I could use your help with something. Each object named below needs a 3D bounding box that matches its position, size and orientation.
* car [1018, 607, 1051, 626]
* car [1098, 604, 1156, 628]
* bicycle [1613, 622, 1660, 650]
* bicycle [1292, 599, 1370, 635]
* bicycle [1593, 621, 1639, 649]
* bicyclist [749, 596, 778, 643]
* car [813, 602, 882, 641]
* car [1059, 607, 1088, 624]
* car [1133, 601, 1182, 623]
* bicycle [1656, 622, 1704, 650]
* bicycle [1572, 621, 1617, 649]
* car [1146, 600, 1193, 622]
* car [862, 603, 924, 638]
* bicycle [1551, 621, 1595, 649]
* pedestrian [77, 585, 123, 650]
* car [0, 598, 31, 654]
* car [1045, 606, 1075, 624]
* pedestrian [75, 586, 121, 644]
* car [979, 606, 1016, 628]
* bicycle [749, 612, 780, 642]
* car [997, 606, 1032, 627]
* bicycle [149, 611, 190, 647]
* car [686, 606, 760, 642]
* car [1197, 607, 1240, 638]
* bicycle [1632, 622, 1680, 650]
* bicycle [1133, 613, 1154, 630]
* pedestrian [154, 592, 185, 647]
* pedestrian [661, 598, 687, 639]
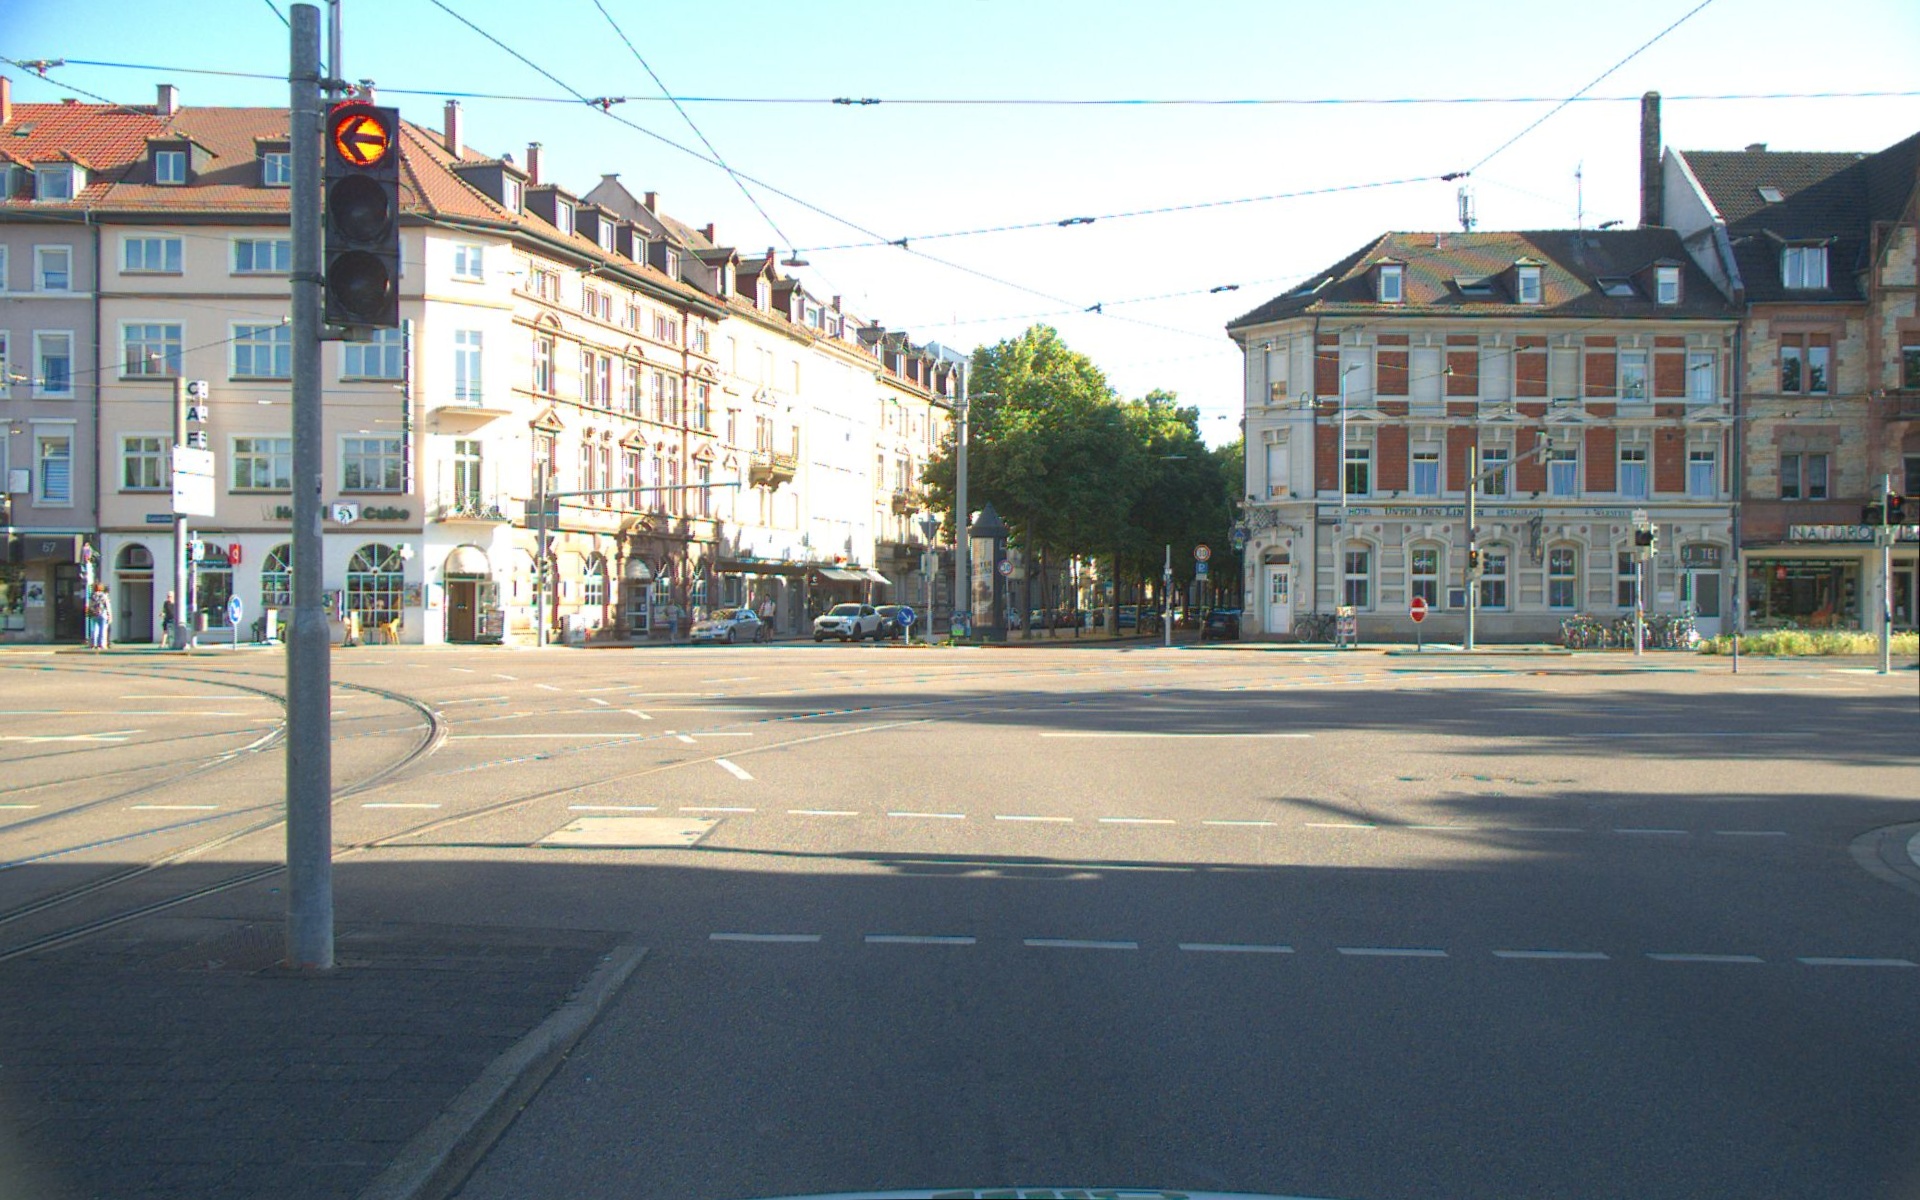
[{"bbox_3d":[5.537,1.212,122.496,1.642,1.378,3.593,0,0,16],"label":"car"},{"bbox_3d":[11.717,1.113,115.828,3.819,1.677,1.684,0,0,16],"label":"car"},{"bbox_3d":[21.863,1.143,53.495,0.645,0.855,2.160,1,0,1],"label":"bicycle"},{"bbox_3d":[12.866,0.588,57.451,2.504,1.194,0.818,1,-1,-4],"label":"bicycle"},{"bbox_3d":[21.192,1.132,53.462,0.645,0.855,2.160,1,0,1],"label":"bicycle"},{"bbox_3d":[-7.714,0.766,64.999,0.761,1.834,1.056,1,-1,13],"label":"bicyclist"},{"bbox_3d":[-4.535,0.842,67.221,1.642,1.509,3.774,0,0,16],"label":"car"},{"bbox_3d":[9.321,1.248,135.890,1.642,1.378,3.593,0,0,16],"label":"car"},{"bbox_3d":[15.323,0.957,128.241,3.503,1.677,1.684,0,0,16],"label":"car"},{"bbox_3d":[23.279,1.167,53.520,0.645,0.855,2.160,1,0,1],"label":"bicycle"},{"bbox_3d":[20.480,1.119,53.448,0.645,0.855,2.160,1,0,1],"label":"bicycle"},{"bbox_3d":[16.946,0.882,133.740,3.503,1.677,1.684,0,0,16],"label":"car"},{"bbox_3d":[-2.948,0.886,73.546,1.642,1.509,3.950,0,0,16],"label":"car"},{"bbox_3d":[19.760,1.107,53.361,0.645,0.855,2.160,1,0,1],"label":"bicycle"},{"bbox_3d":[-21.437,0.441,41.231,0.539,1.605,0.832,1,-1,27],"label":"pedestrian"},{"bbox_3d":[-32.153,0.791,52.254,4.276,1.741,2.306,1,0,1],"label":"car"},{"bbox_3d":[7.896,1.212,130.838,1.642,1.378,3.593,0,0,16],"label":"car"},{"bbox_3d":[-23.967,0.417,45.996,0.710,1.605,0.834,1,-1,15],"label":"pedestrian"},{"bbox_3d":[2.567,1.137,111.334,1.642,1.378,3.593,0,0,16],"label":"car"},{"bbox_3d":[-7.681,1.046,65.122,0.687,1.137,1.636,1,0,13],"label":"bicycle"},{"bbox_3d":[3.825,1.156,115.509,1.642,1.378,3.593,0,0,16],"label":"car"},{"bbox_3d":[-24.769,0.896,51.870,0.561,1.096,1.497,1,0,-1],"label":"bicycle"},{"bbox_3d":[-9.540,0.933,66.740,1.642,1.378,3.593,0,0,16],"label":"car"},{"bbox_3d":[12.959,1.104,82.743,1.642,1.509,3.950,0,0,16],"label":"car"},{"bbox_3d":[22.490,1.154,53.475,0.645,0.855,2.160,1,0,1],"label":"bicycle"},{"bbox_3d":[11.054,1.294,99.621,0.625,1.039,1.840,1,0,-14],"label":"bicycle"},{"bbox_3d":[-24.762,0.595,51.825,0.570,1.699,0.752,1,-1,-1],"label":"pedestrian"},{"bbox_3d":[-12.002,0.794,69.452,0.759,1.699,0.831,1,-1,15],"label":"pedestrian"}]
